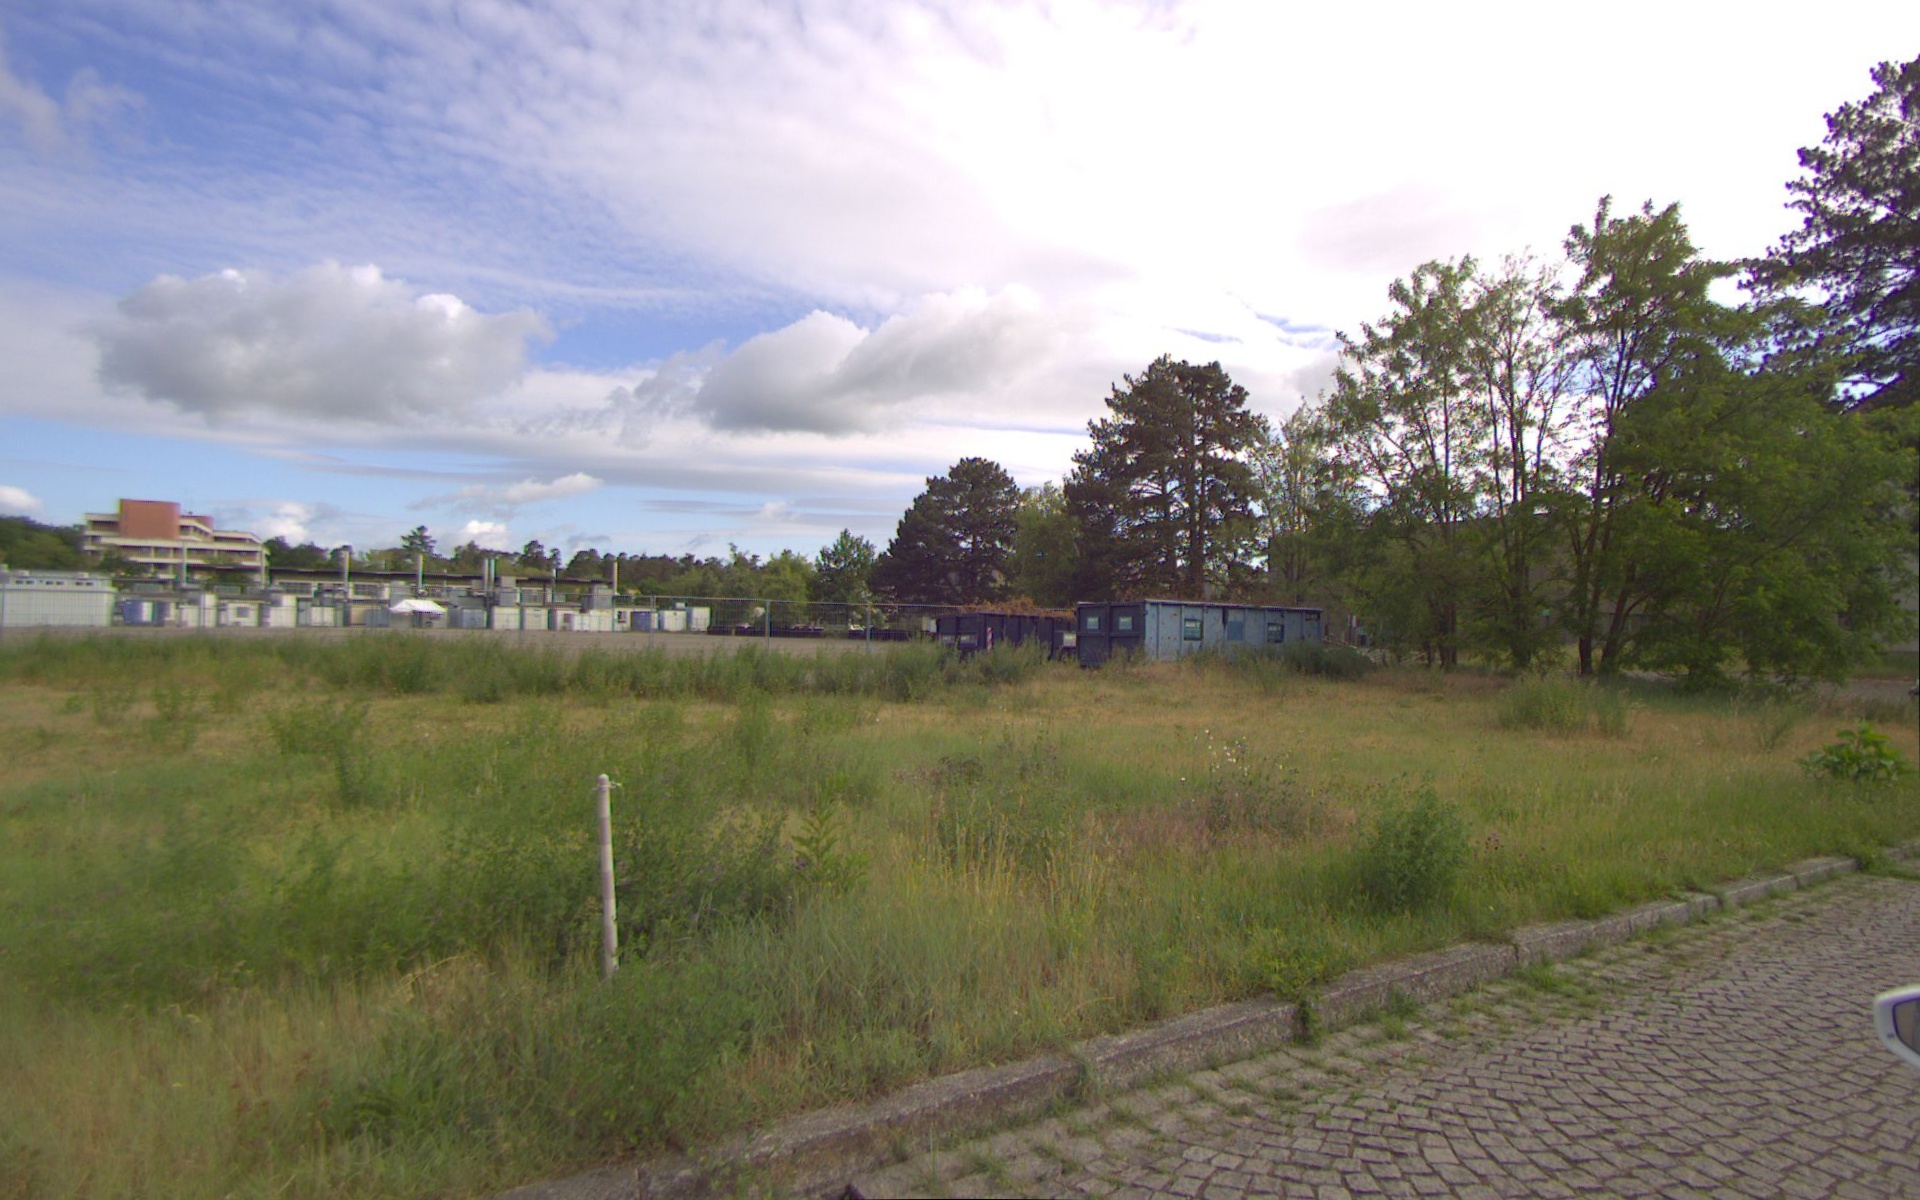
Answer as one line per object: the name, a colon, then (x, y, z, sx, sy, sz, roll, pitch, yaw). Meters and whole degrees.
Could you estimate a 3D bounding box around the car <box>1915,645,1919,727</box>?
car: (20.437, 1.629, 18.231, 1.795, 1.574, 4.268, 2, -2, -36)

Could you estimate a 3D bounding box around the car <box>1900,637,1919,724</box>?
car: (18.365, 1.479, 16.692, 1.655, 1.500, 3.698, 2, 1, -33)
